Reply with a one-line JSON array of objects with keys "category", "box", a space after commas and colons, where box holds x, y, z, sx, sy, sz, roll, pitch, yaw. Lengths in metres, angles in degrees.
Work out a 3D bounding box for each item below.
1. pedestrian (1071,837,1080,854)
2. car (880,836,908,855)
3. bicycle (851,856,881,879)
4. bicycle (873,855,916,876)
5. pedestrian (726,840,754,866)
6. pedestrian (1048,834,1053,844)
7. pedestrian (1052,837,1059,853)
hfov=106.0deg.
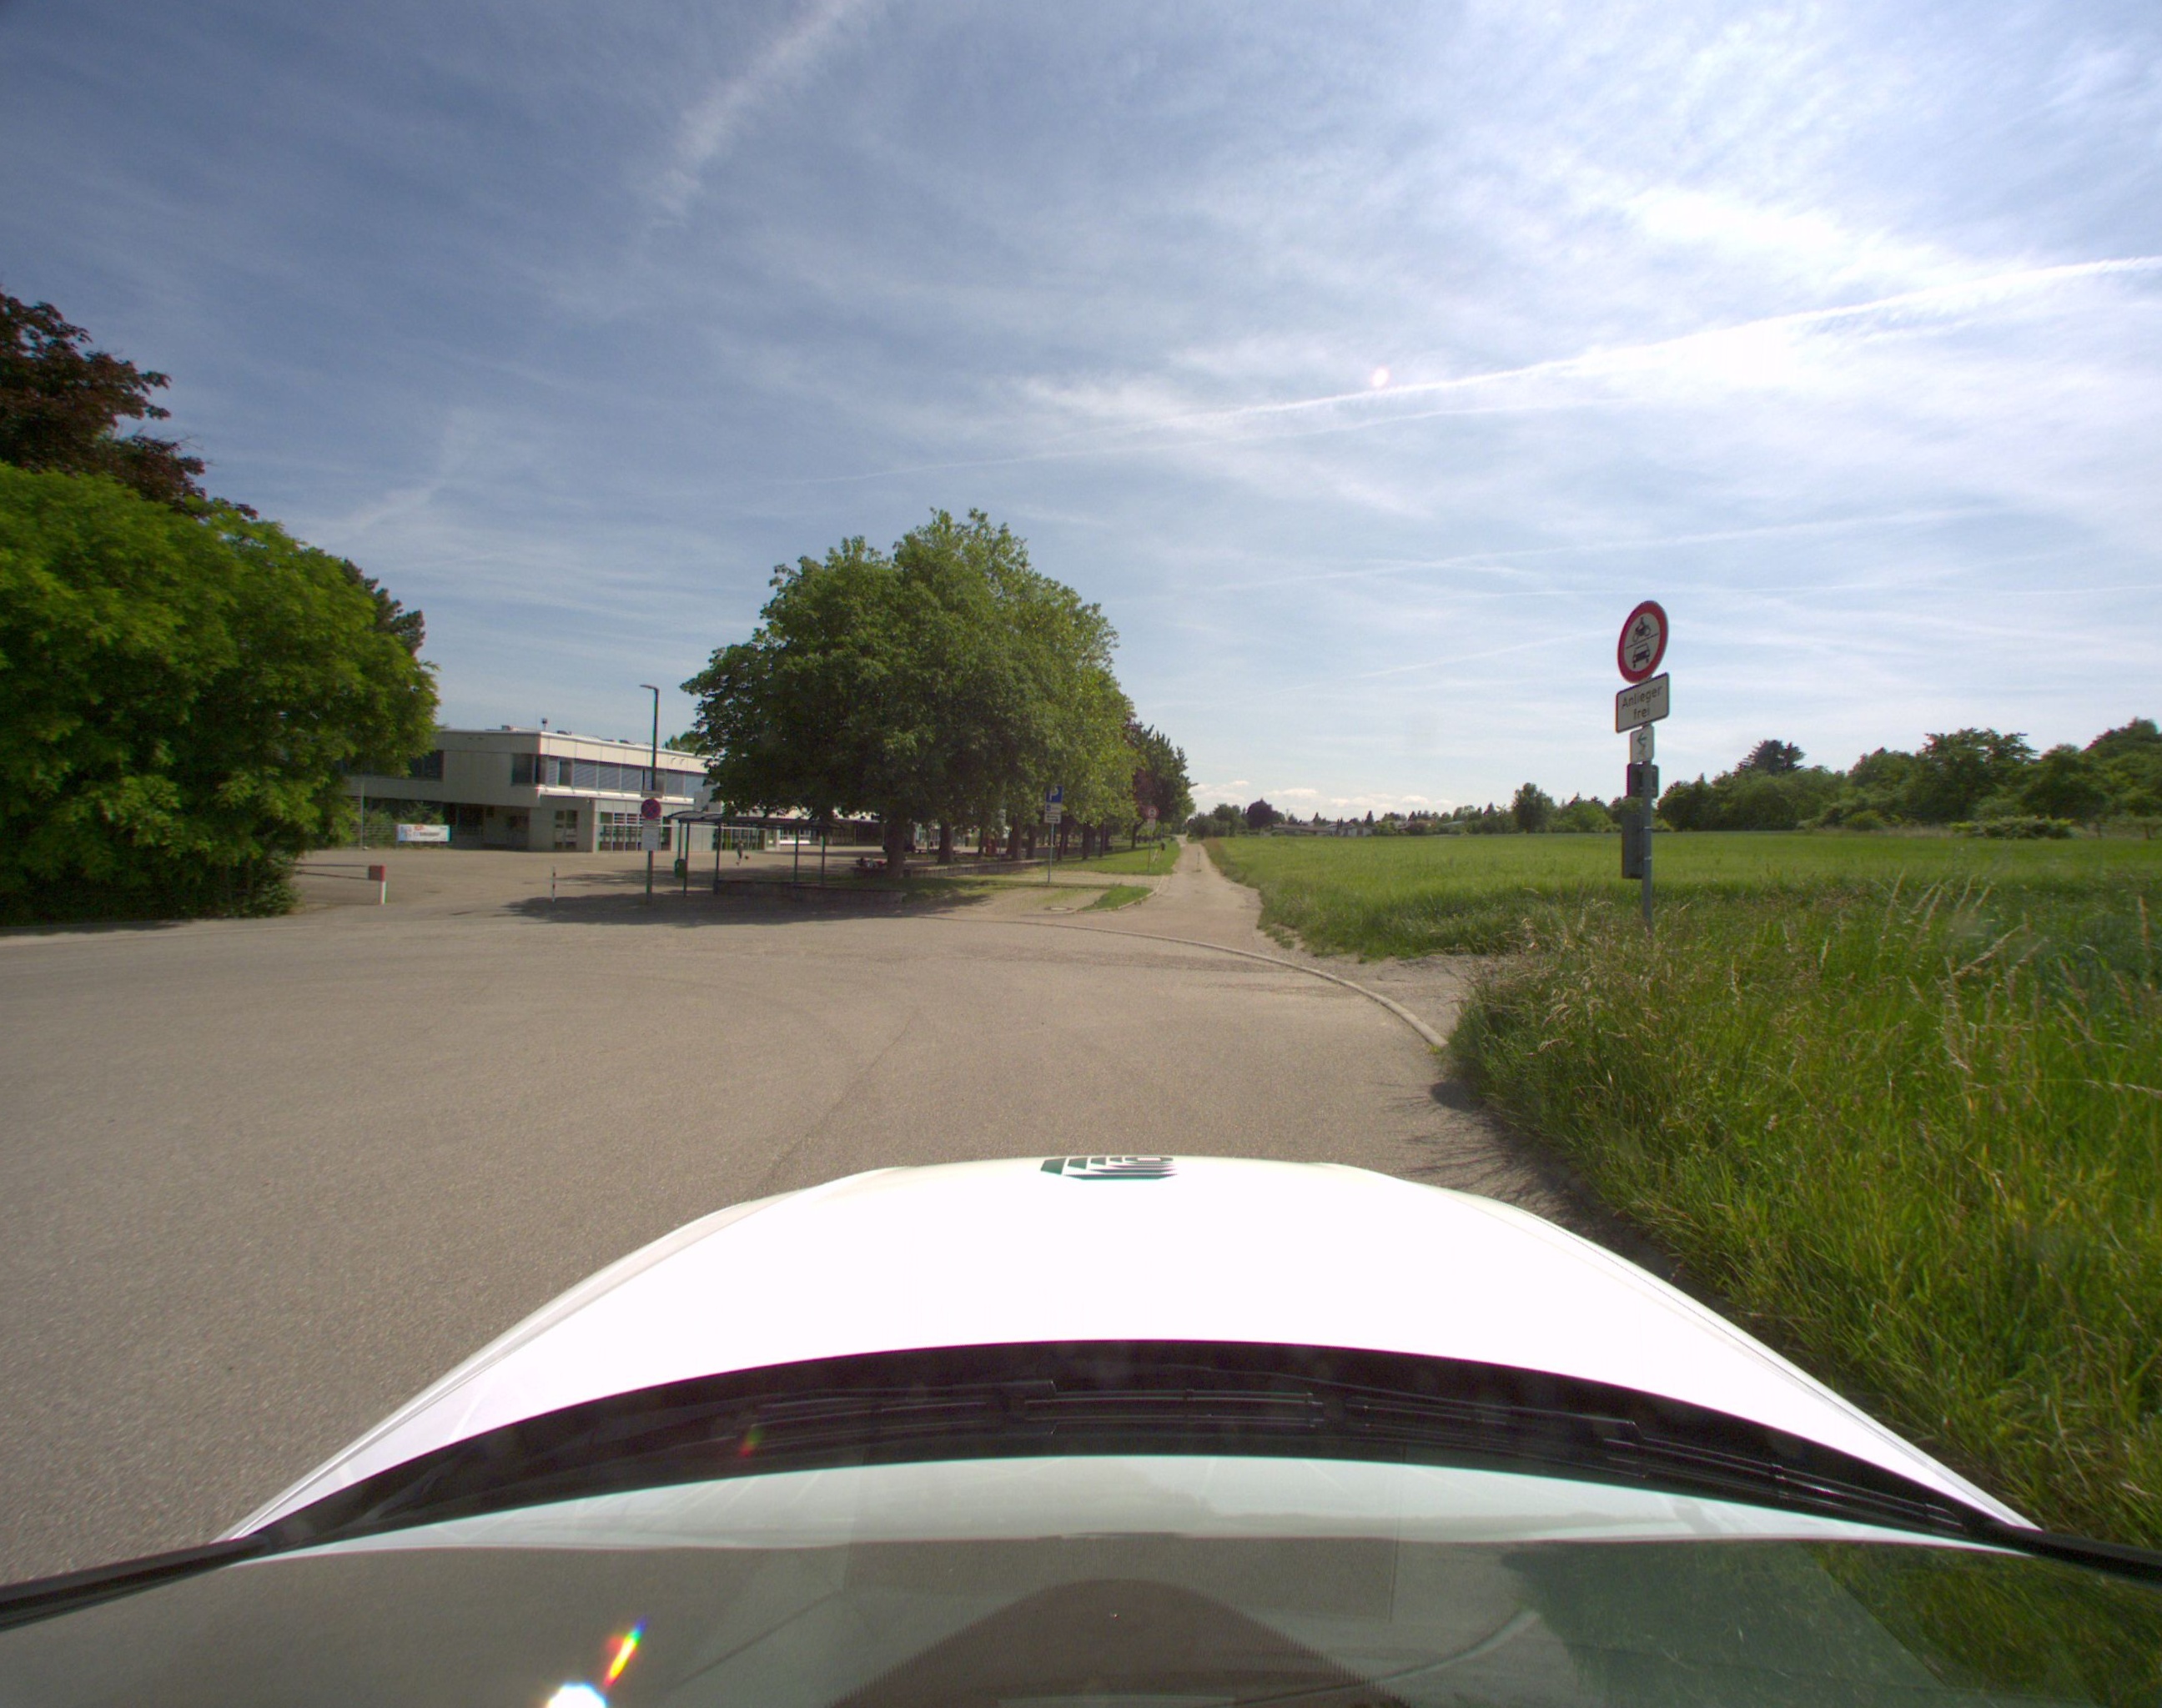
[{"category": "pedestrian", "box": [-0.673, -0.988, 98.337, 0.686, 2.013, 0.796, 2, 0, -27]}, {"category": "car", "box": [-18.202, -0.833, 79.553, 1.683, 1.834, 3.415, 2, 0, 4]}, {"category": "bicycle", "box": [-10.479, 0.651, 39.796, 0.590, 1.039, 1.900, 1, 1, 14]}, {"category": "bicycle", "box": [-9.591, 0.602, 41.875, 2.057, 1.039, 0.572, 1, 0, -2]}, {"category": "pedestrian", "box": [-18.944, -0.044, 45.305, 0.909, 1.423, 1.074, 2, 0, 19]}, {"category": "pedestrian", "box": [-6.081, -2.998, 162.929, 0.718, 2.013, 0.684, -1, 0, 9]}, {"category": "pedestrian", "box": [-3.353, -1.173, 106.927, 0.832, 2.013, 0.690, 2, 0, -10]}]
